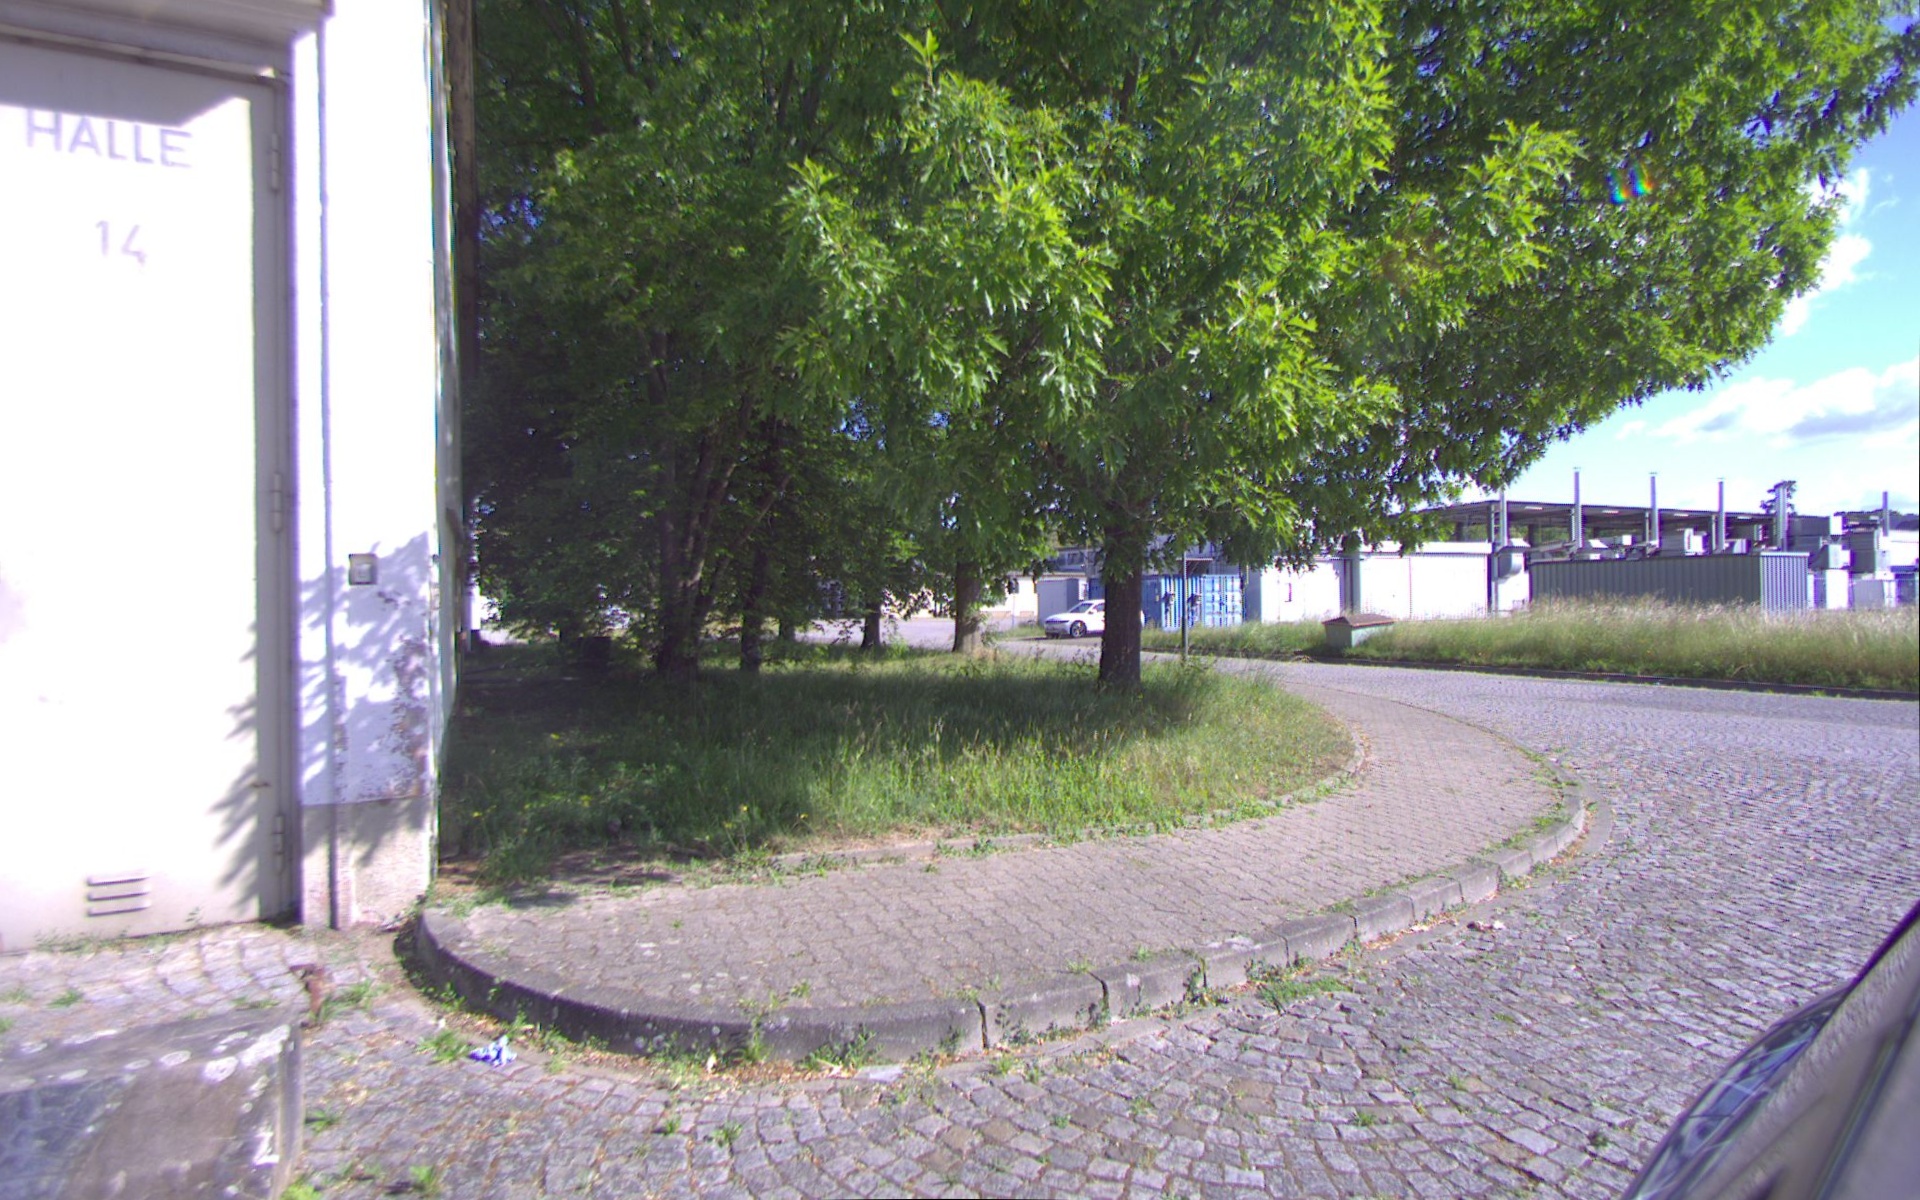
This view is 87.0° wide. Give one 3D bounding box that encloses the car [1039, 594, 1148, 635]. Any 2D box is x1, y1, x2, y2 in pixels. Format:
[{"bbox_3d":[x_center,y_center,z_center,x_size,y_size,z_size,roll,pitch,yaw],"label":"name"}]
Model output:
[{"bbox_3d":[5.806,0.632,43.988,4.428,1.613,1.827,-2,-1,-27],"label":"car"}]
